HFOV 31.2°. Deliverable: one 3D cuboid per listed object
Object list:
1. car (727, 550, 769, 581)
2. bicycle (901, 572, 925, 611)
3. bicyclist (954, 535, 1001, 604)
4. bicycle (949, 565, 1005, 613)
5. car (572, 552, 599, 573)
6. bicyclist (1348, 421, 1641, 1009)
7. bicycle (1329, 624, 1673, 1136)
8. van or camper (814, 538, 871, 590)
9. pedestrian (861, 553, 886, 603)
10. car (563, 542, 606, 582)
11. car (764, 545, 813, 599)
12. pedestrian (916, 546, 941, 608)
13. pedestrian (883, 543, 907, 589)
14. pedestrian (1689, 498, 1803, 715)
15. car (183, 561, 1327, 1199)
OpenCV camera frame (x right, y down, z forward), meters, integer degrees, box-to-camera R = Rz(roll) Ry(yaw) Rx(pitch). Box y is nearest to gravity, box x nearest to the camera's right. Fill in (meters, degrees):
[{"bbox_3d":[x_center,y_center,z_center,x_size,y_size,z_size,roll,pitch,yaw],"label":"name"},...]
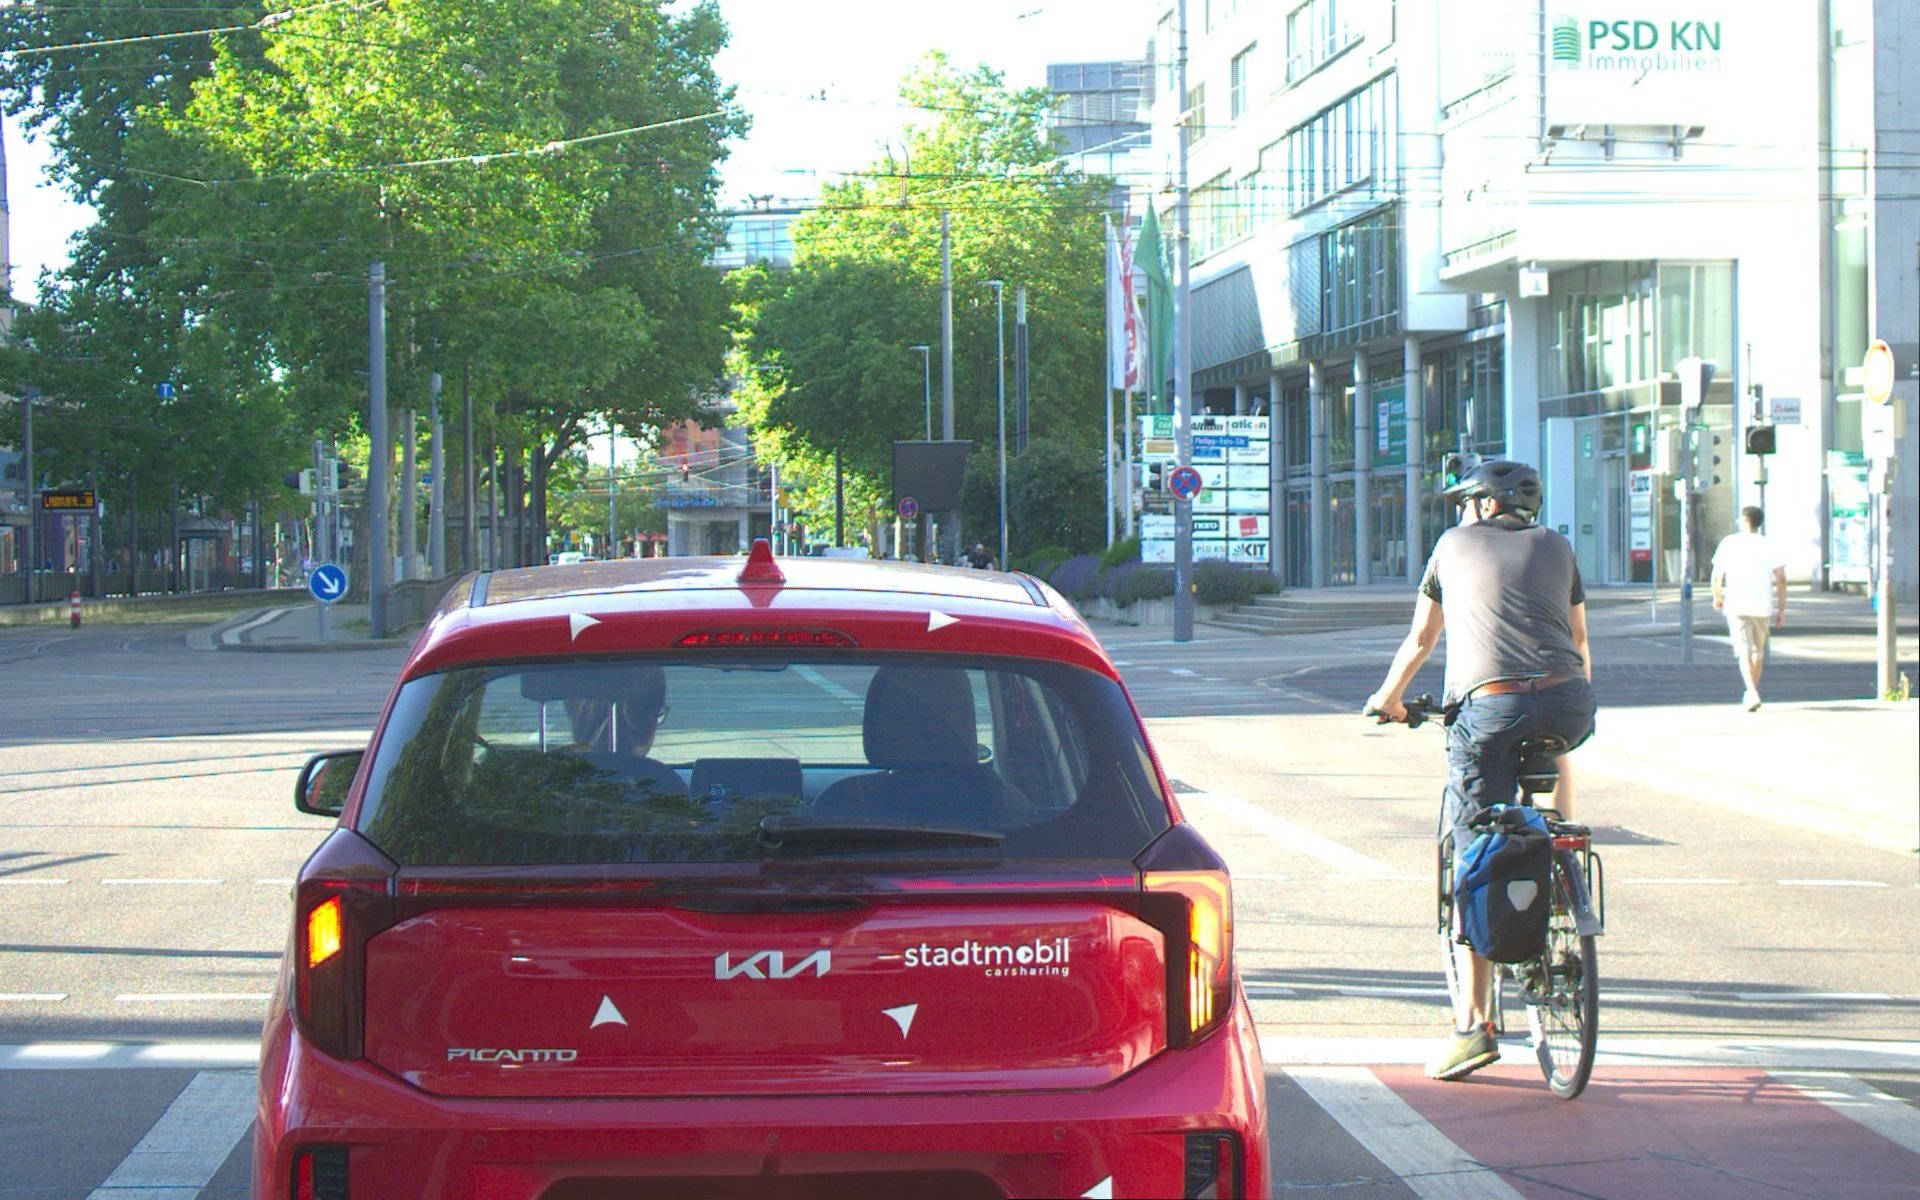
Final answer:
[{"bbox_3d":[-10.755,-1.760,174.262,1.777,1.529,3.513,0,1,-10],"label":"car"},{"bbox_3d":[-1.286,-0.237,93.730,0.520,0.971,2.202,-4,2,-2],"label":"bicycle"},{"bbox_3d":[0.412,-0.723,81.640,0.721,1.597,1.089,-3,1,-19],"label":"bicyclist"},{"bbox_3d":[0.404,-0.263,81.745,0.696,1.094,1.751,-5,2,-19],"label":"bicycle"},{"bbox_3d":[-27.846,-2.820,255.840,1.777,1.529,3.413,0,1,-10],"label":"car"},{"bbox_3d":[1.520,0.304,9.920,0.650,1.597,1.089,-1,1,-1],"label":"bicyclist"},{"bbox_3d":[1.513,0.736,9.924,0.650,1.276,1.966,-1,1,-1],"label":"bicycle"},{"bbox_3d":[-4.543,-1.393,132.299,1.993,1.982,4.745,0,1,-4],"label":"van or camper"},{"bbox_3d":[-2.793,-0.721,111.017,0.641,1.574,0.723,-4,1,-5],"label":"pedestrian"},{"bbox_3d":[-19.169,-1.932,175.477,1.993,2.007,4.001,-1,1,-8],"label":"car"},{"bbox_3d":[-5.813,-0.952,116.327,1.635,1.794,3.330,-1,1,-3],"label":"car"},{"bbox_3d":[-0.858,-0.634,93.903,0.646,1.674,0.651,-1,1,-2],"label":"pedestrian"},{"bbox_3d":[-2.502,-1.318,132.850,0.891,1.747,0.841,-1,1,-1],"label":"pedestrian"},{"bbox_3d":[6.753,0.044,29.571,0.777,1.817,1.215,-1,1,5],"label":"pedestrian"},{"bbox_3d":[-0.434,0.702,6.566,1.613,1.529,3.412,0,1,-5],"label":"car"}]
